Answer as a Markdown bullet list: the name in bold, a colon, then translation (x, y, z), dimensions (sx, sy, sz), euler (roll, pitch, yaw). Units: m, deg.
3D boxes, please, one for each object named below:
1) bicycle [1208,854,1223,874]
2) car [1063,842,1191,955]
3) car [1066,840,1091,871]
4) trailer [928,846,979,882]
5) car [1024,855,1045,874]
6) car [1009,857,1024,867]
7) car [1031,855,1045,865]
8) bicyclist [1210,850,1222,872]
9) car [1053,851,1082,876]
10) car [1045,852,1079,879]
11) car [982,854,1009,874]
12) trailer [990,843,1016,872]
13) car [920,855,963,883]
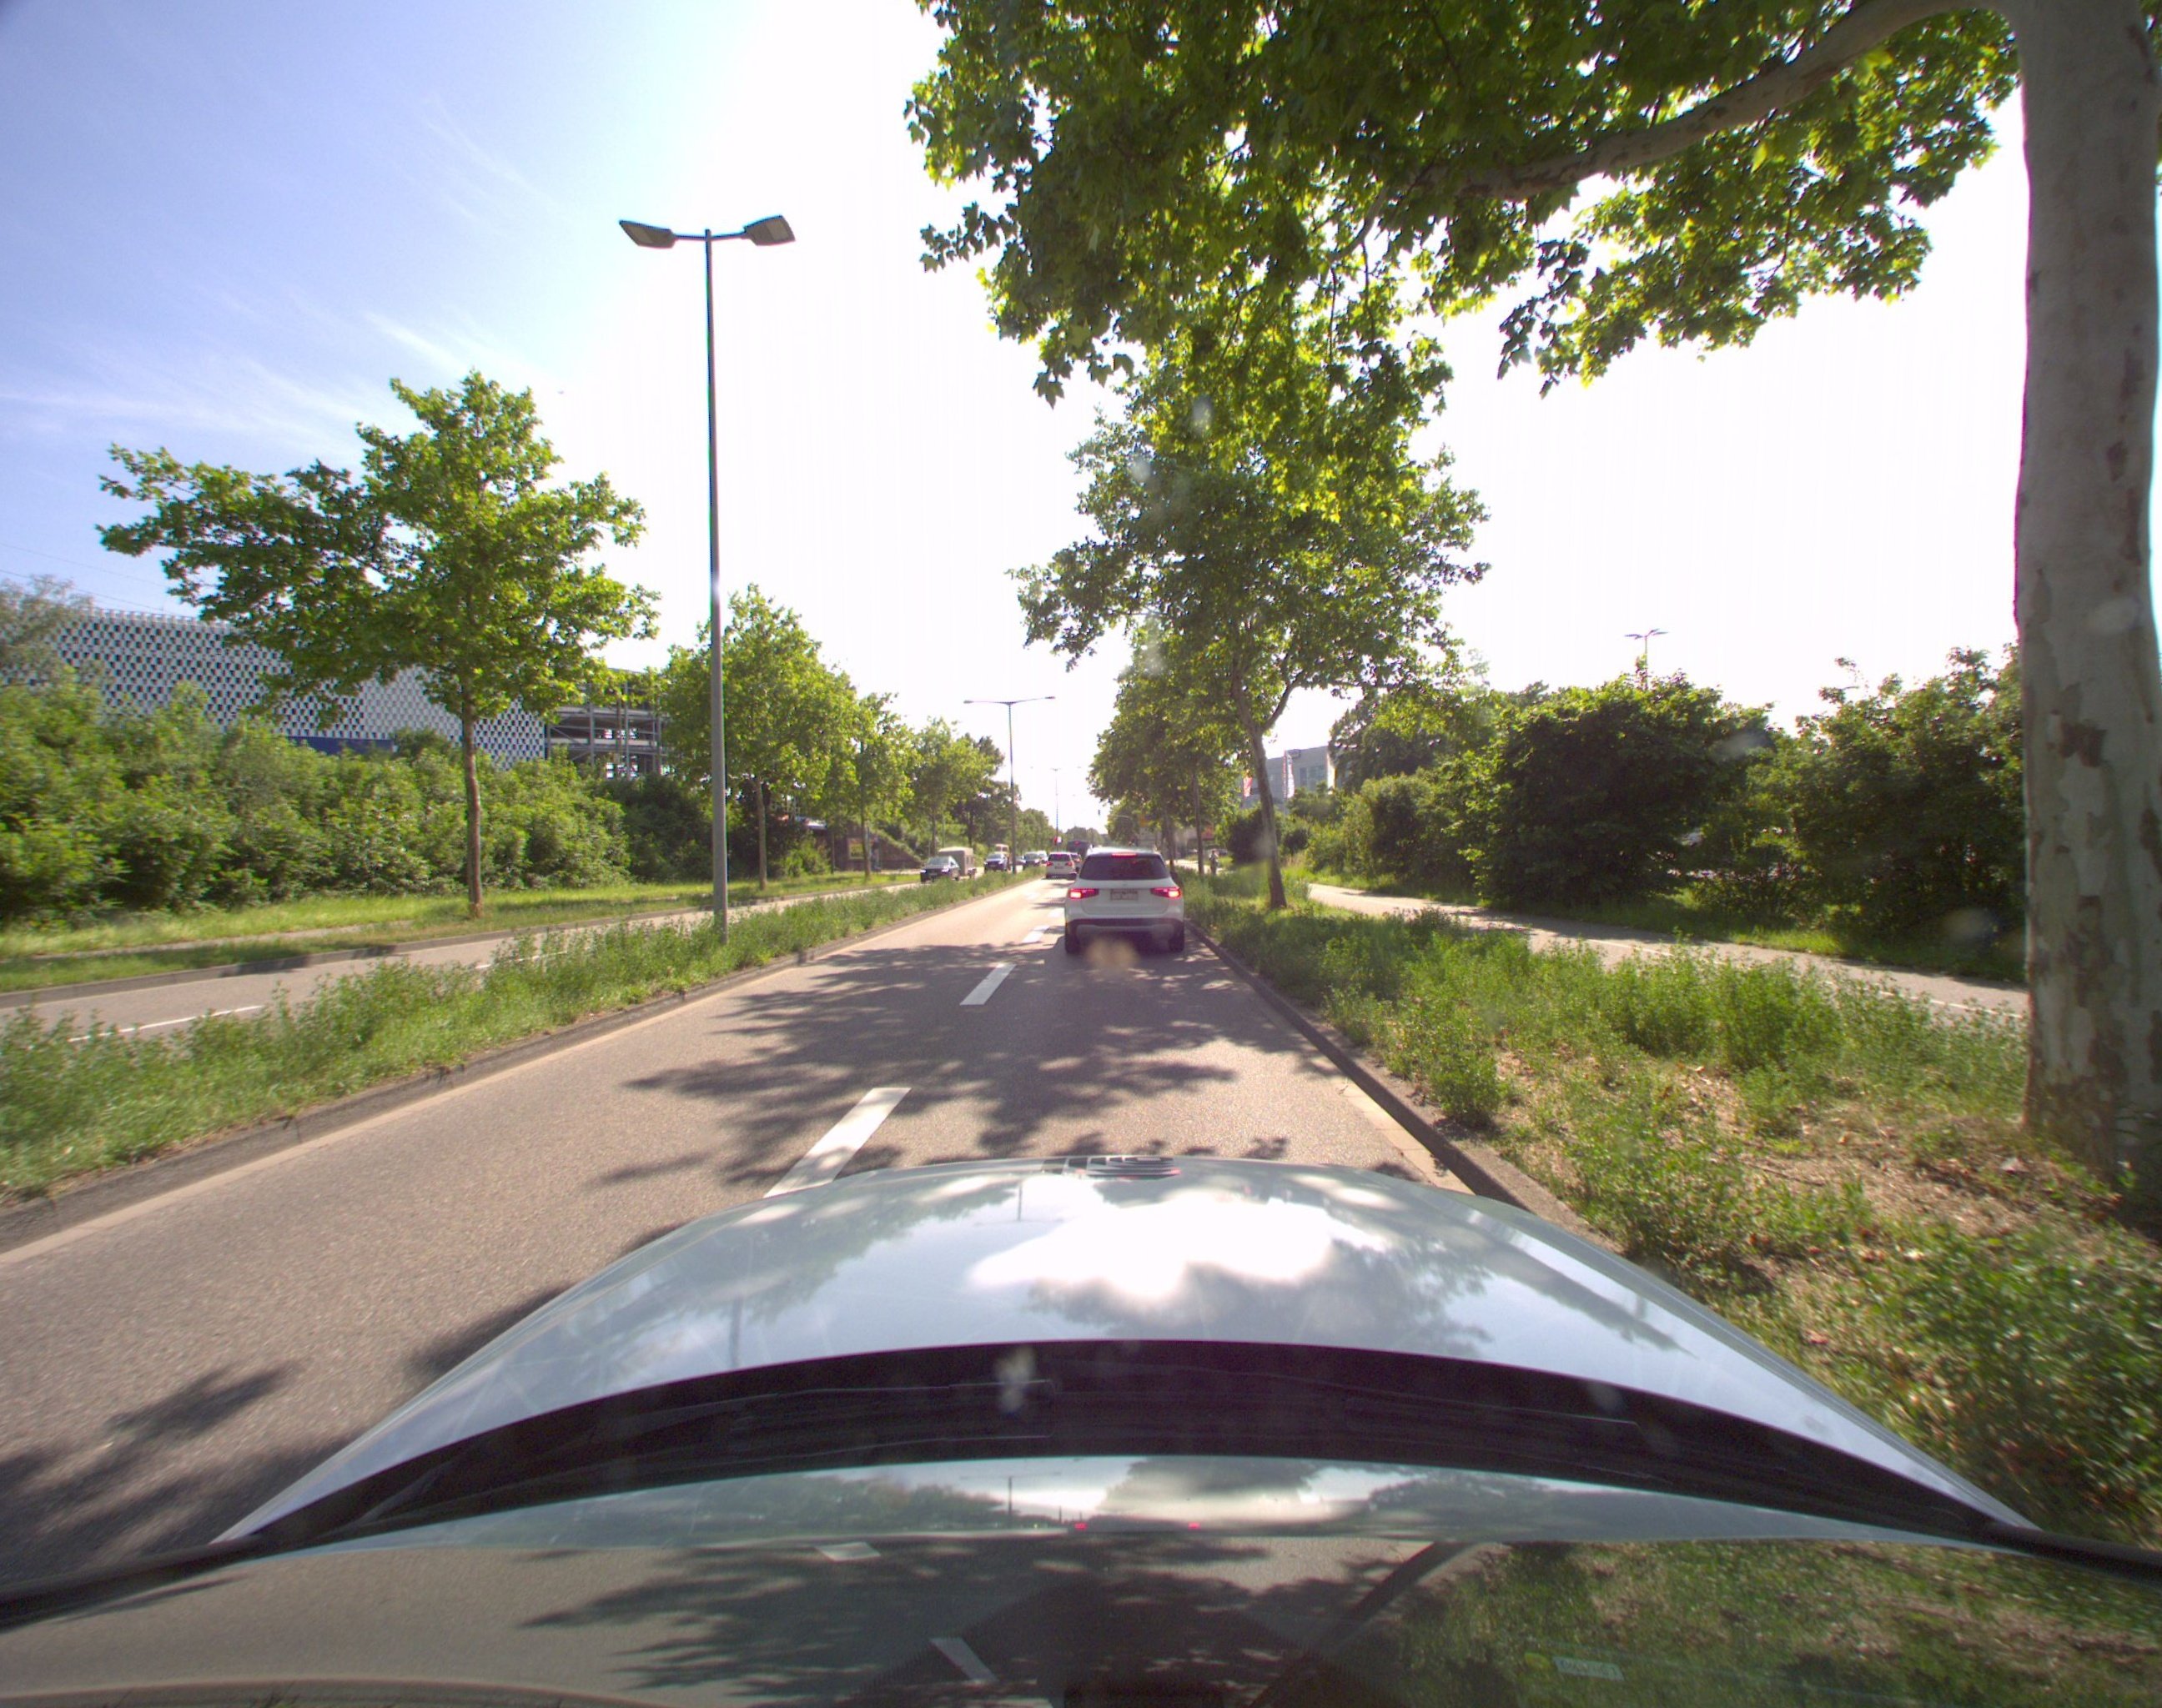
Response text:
- **bicycle**: translation (8.947, 0.660, 54.132), dimensions (0.720, 1.299, 2.097), euler (-1, 0, 3)
- **car**: translation (0.628, 0.646, 13.789), dimensions (1.848, 1.607, 3.998), euler (0, 0, -1)
- **car**: translation (-0.186, 0.143, 73.407), dimensions (2.073, 2.656, 4.877), euler (0, 0, 3)
- **trailer**: translation (-8.672, 0.678, 55.806), dimensions (2.299, 2.265, 5.542), euler (-1, 0, 3)
- **car**: translation (-4.737, 1.054, 83.496), dimensions (1.724, 1.809, 4.235), euler (0, 0, 3)
- **car**: translation (-9.210, 1.133, 116.883), dimensions (1.695, 1.365, 3.647), euler (-1, 0, 1)
- **car**: translation (-6.273, 0.921, 119.847), dimensions (1.596, 1.472, 3.793), euler (-1, 0, 3)
- **bicyclist**: translation (8.963, 0.468, 54.129), dimensions (0.701, 1.477, 1.010), euler (-1, -1, 3)
- **car**: translation (-0.896, 0.653, 57.462), dimensions (1.764, 1.647, 4.087), euler (-1, 0, 3)
- **car**: translation (-1.158, 0.696, 51.423), dimensions (1.764, 1.647, 4.355), euler (-1, 0, 3)
- **car**: translation (-7.989, 0.924, 76.717), dimensions (1.757, 1.790, 5.379), euler (0, 0, 3)
- **trailer**: translation (-7.749, 0.343, 81.202), dimensions (1.872, 2.744, 4.832), euler (0, 0, 3)
- **car**: translation (-8.664, 0.904, 50.838), dimensions (1.708, 1.622, 4.364), euler (-1, 0, 3)
